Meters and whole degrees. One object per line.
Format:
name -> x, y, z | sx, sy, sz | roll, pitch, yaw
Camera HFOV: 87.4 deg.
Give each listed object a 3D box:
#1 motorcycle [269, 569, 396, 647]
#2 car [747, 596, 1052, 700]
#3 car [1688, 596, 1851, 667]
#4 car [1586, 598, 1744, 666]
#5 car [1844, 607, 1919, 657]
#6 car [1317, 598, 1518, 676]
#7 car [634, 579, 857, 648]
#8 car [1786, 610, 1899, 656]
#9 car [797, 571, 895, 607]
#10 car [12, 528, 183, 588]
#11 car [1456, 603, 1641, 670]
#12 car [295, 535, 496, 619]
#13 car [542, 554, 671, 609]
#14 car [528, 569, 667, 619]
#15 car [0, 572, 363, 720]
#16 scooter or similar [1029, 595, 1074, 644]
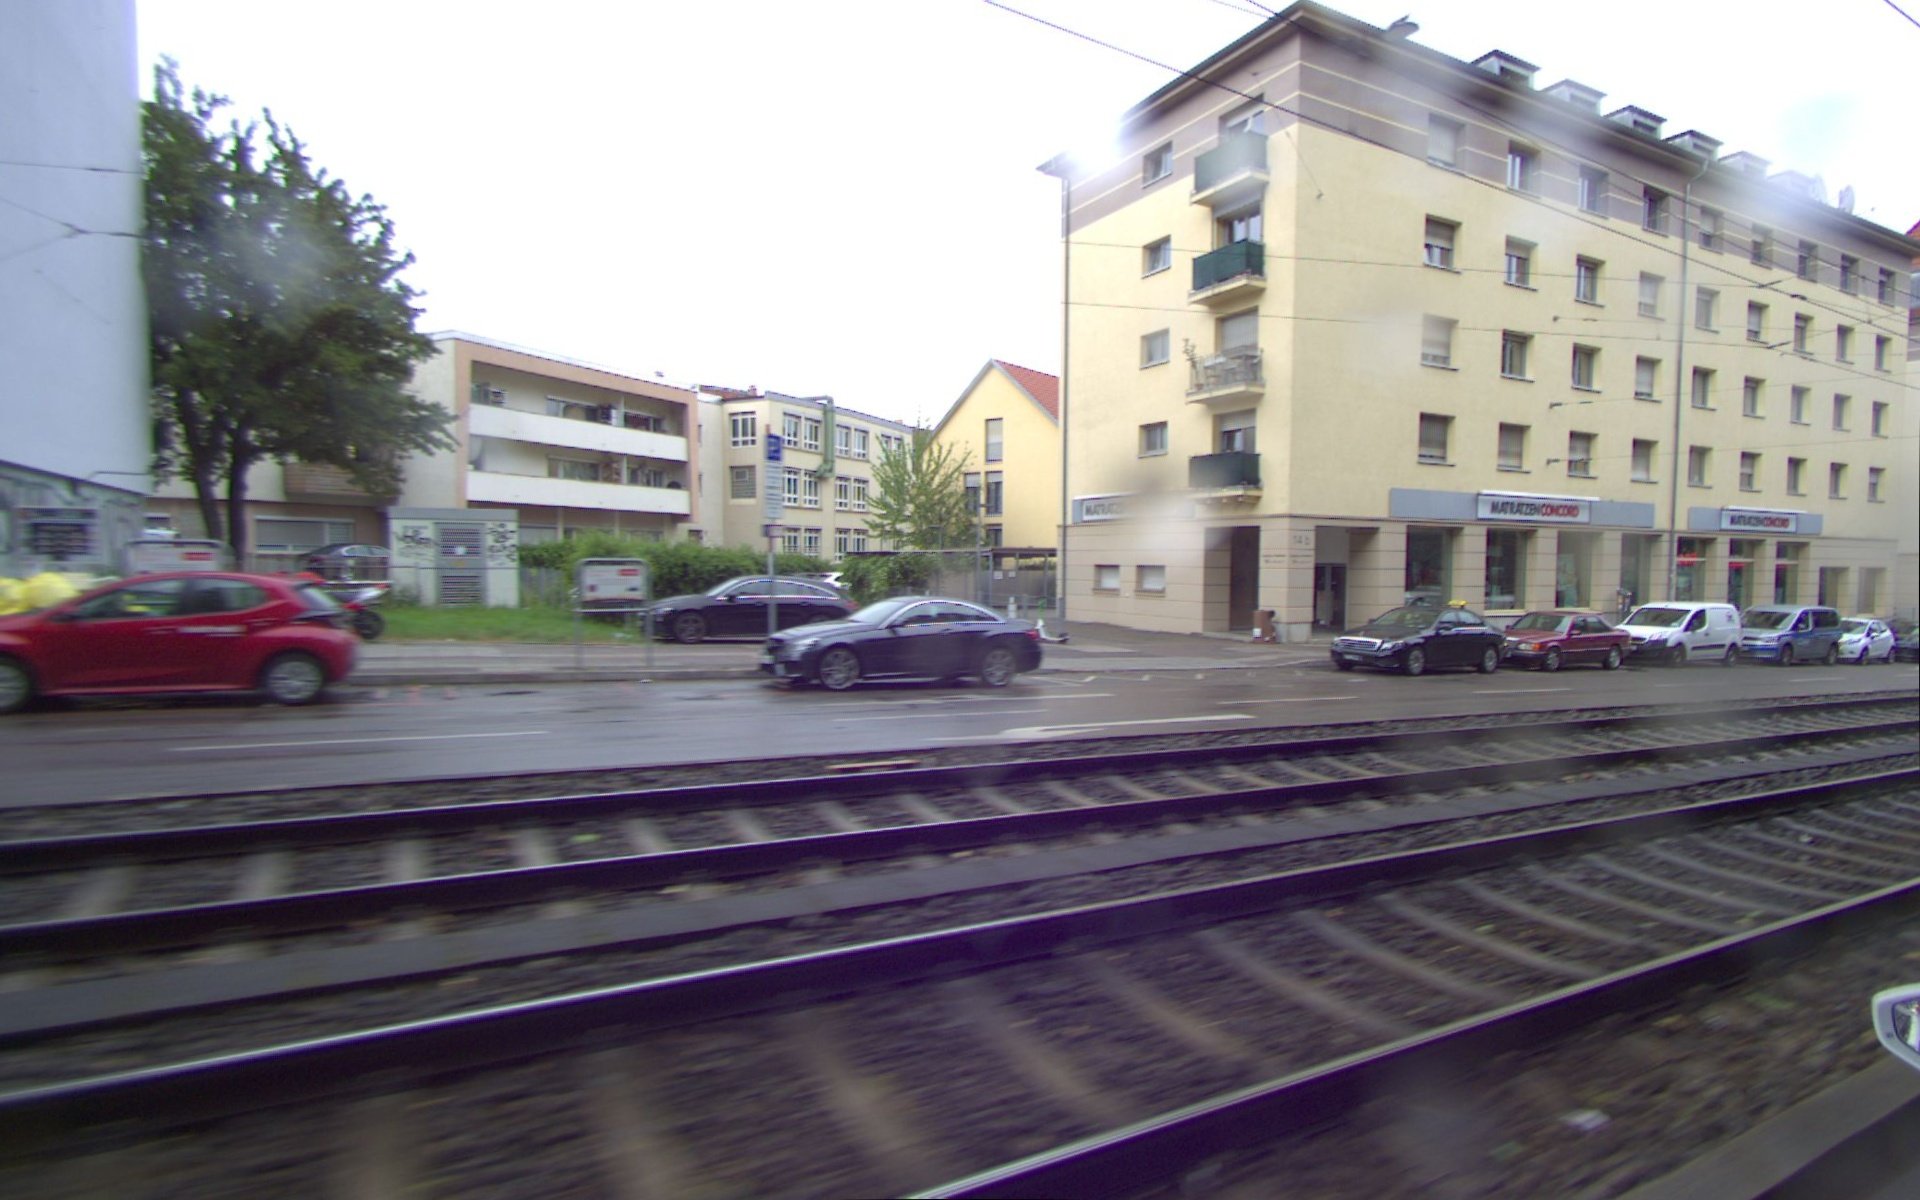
motorcycle -> -10.492, 0.143, 16.862 | 1.764, 1.216, 0.636 | 2, 5, -31
car -> -0.885, 0.670, 15.872 | 4.568, 1.415, 1.671 | 0, 2, -31
car -> 25.155, 0.896, 31.172 | 5.392, 1.931, 1.985 | 0, 4, -29
car -> 19.848, 0.841, 28.255 | 4.404, 1.740, 1.859 | 0, 2, -28
car -> 33.837, 1.100, 35.987 | 4.527, 1.519, 1.805 | 0, 3, -30
car -> 10.348, 0.752, 22.601 | 4.941, 1.528, 1.839 | 0, 2, -35
car -> -4.580, 0.235, 21.447 | 4.413, 1.321, 1.866 | -1, 2, -23
car -> 29.553, 1.100, 33.618 | 4.003, 1.458, 1.683 | 1, -3, -31
car -> -4.918, -0.498, 43.379 | 3.856, 1.419, 1.660 | -1, 3, -29
car -> -28.572, -1.398, 33.450 | 4.003, 1.888, 1.705 | -2, 4, -32
car -> 14.921, 0.862, 25.408 | 4.773, 1.452, 1.843 | 0, 3, -29
car -> -13.174, -0.577, 23.658 | 3.950, 1.846, 1.679 | -2, 2, -29
car -> -11.523, -0.592, 32.732 | 3.850, 1.655, 1.663 | 1, 2, -24
car -> -10.979, -0.169, 30.418 | 3.850, 1.419, 1.663 | 1, 1, -25
car -> -9.100, 0.447, 11.341 | 4.026, 1.471, 1.645 | 0, 2, -31
scooter or similar -> 2.266, 0.469, 25.016 | 0.375, 1.128, 1.282 | -1, 4, -35
